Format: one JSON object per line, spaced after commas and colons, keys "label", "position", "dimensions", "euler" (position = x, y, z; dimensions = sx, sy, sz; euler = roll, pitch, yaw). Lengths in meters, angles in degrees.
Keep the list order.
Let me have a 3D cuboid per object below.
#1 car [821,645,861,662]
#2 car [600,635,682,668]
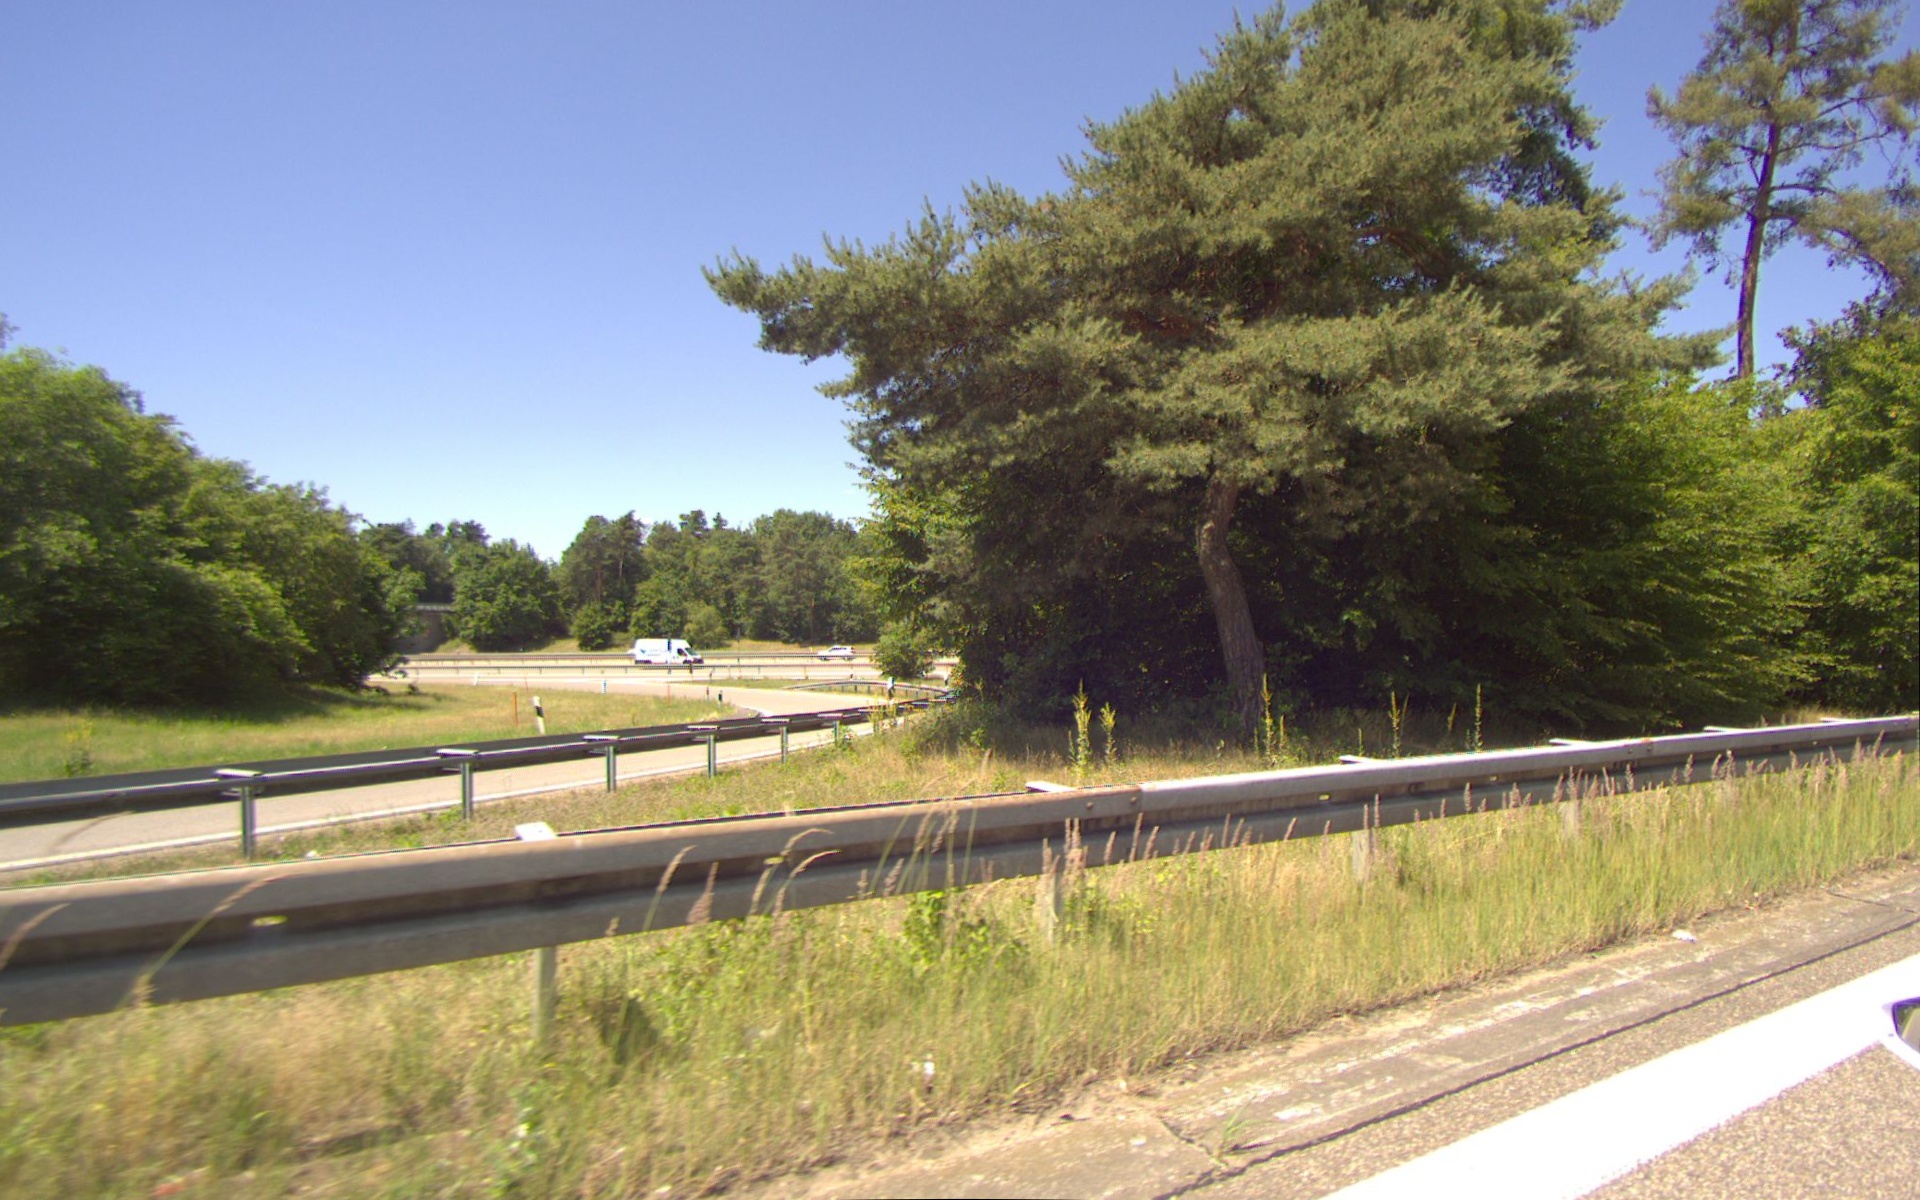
{"label": "car", "position": [-13.057, 5.833, 110.120], "dimensions": [3.919, 1.802, 2.002], "euler": [-1, -3, 8]}
{"label": "car", "position": [-29.595, 4.781, 93.279], "dimensions": [6.910, 2.870, 2.247], "euler": [0, 0, 10]}
